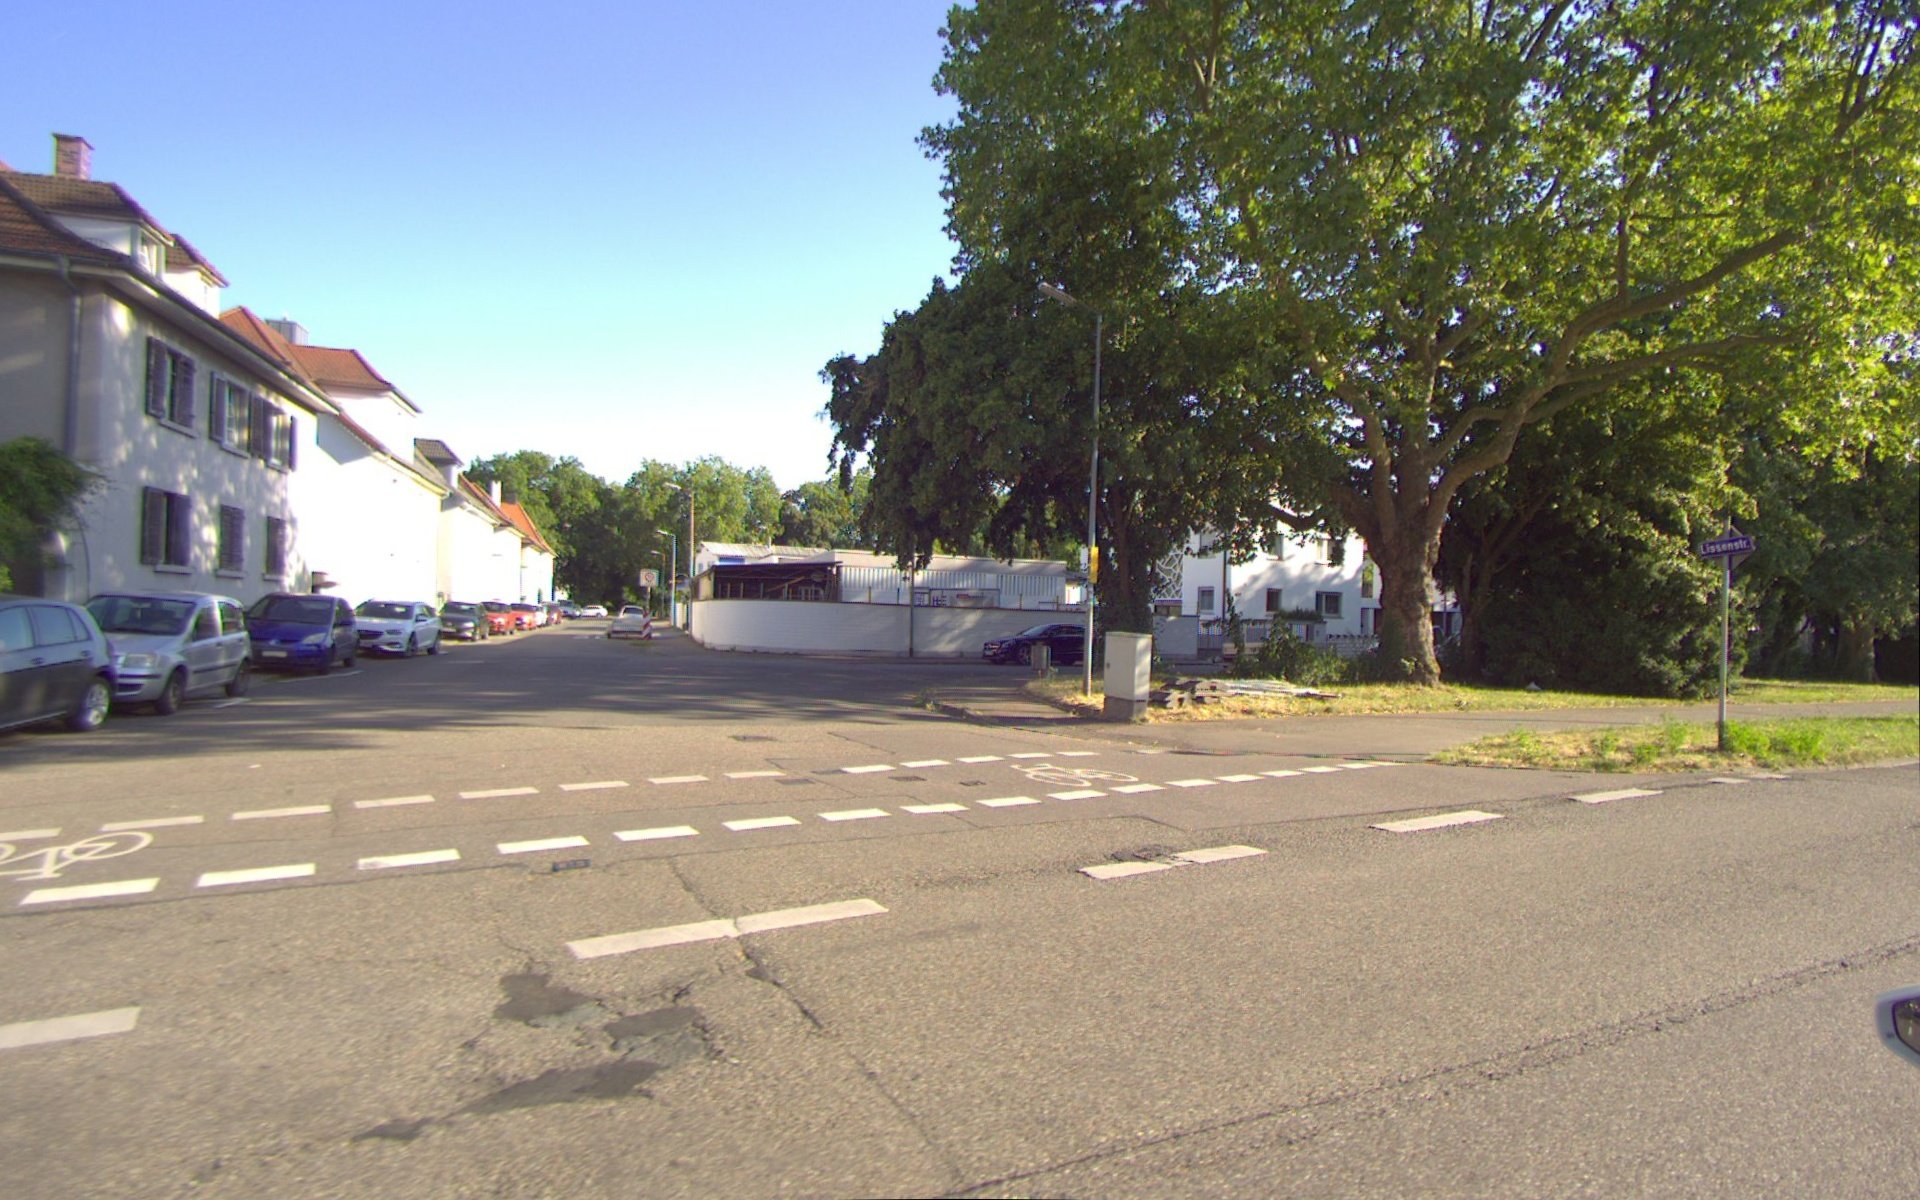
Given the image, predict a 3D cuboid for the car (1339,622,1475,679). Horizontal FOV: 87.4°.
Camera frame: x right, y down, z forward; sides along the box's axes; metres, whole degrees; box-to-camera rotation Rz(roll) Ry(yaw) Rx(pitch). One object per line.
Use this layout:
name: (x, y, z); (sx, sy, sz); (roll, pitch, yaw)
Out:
car: (15.237, 1.698, 34.425); (1.708, 1.706, 3.965); (3, -1, -32)

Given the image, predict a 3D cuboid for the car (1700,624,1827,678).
car: (34.754, 2.148, 43.529); (1.891, 2.072, 3.956); (0, 1, -38)

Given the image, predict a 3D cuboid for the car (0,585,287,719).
car: (-11.167, 0.653, 13.981); (1.835, 1.582, 3.986); (2, -1, -17)

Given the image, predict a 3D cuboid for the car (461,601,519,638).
car: (-21.680, 0.878, 46.470); (1.835, 1.582, 3.986); (2, -1, -17)

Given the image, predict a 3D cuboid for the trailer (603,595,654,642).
trailer: (-15.436, 0.840, 46.856); (2.142, 2.040, 3.652); (2, -1, -18)

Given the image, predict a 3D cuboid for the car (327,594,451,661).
car: (-15.215, 0.709, 27.028); (1.835, 1.581, 4.663); (3, -1, -17)

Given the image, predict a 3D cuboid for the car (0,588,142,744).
car: (-9.908, 0.589, 9.536); (1.883, 1.437, 3.986); (2, -1, -17)

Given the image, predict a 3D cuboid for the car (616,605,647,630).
car: (-21.867, 1.136, 66.760); (1.836, 1.582, 3.982); (2, -1, -20)

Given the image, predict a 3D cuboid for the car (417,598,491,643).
car: (-19.518, 0.770, 38.923); (1.835, 1.582, 3.985); (2, 0, -17)

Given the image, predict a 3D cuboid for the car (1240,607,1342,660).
car: (15.382, 1.516, 46.916); (1.976, 2.319, 4.296); (2, -1, -29)

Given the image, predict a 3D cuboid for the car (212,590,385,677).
car: (-13.400, 0.648, 20.637); (1.835, 1.582, 3.986); (2, -1, -17)

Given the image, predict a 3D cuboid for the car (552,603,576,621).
car: (-38.128, 1.134, 96.778); (1.835, 1.582, 3.908); (2, -1, -17)

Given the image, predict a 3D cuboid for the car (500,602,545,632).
car: (-24.938, 0.941, 57.313); (1.835, 1.582, 3.986); (2, -1, -17)

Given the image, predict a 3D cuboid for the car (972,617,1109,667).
car: (2.728, 1.412, 33.690); (4.309, 1.582, 1.849); (2, -1, -31)

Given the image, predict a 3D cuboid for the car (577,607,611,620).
car: (-46.382, 1.690, 127.316); (3.935, 1.483, 1.858); (3, 0, -16)
